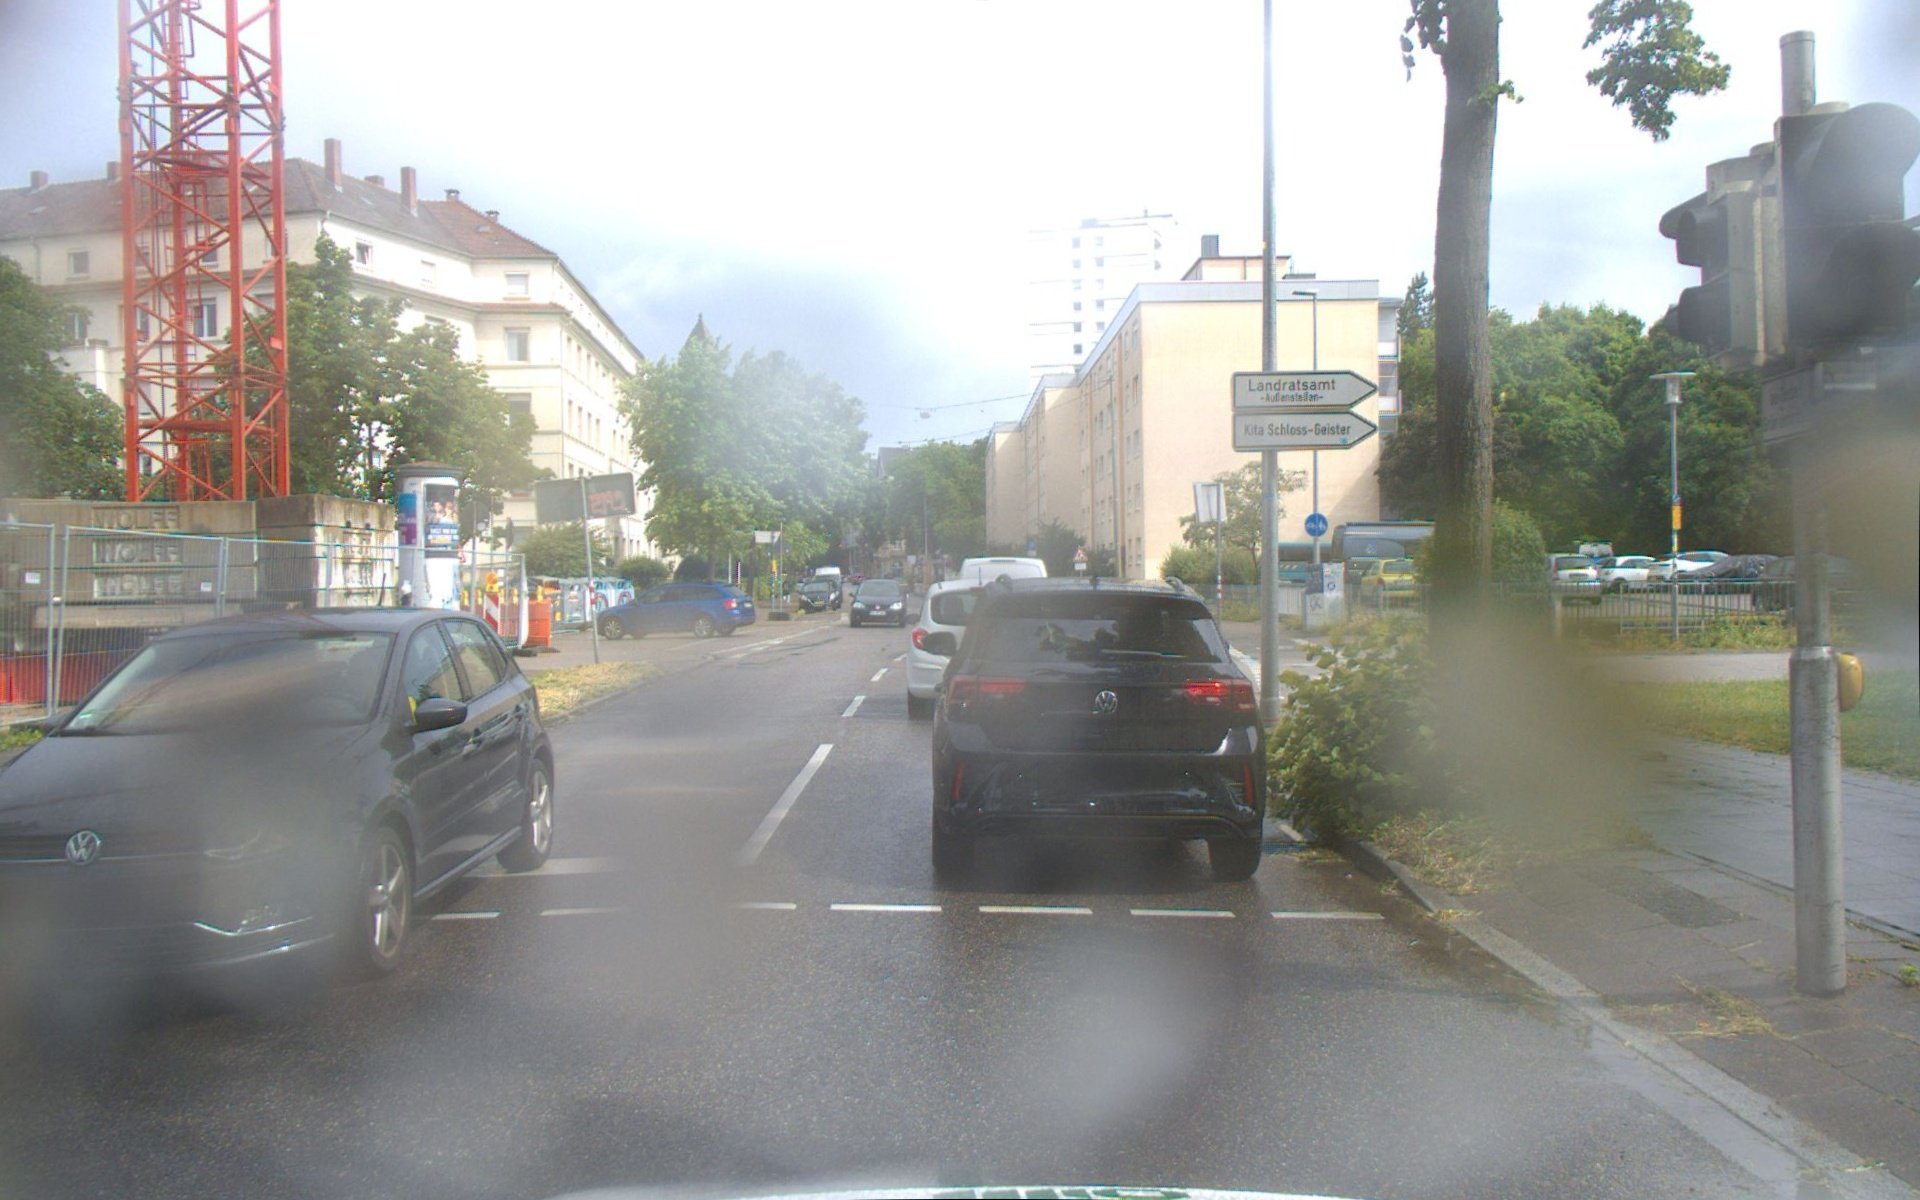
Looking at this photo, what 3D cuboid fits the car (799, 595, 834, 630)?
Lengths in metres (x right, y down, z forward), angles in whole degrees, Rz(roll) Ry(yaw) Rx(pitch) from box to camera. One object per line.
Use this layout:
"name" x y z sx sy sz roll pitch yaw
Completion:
"car" -6.867 0.564 79.113 1.555 1.532 4.061 -2 1 -5

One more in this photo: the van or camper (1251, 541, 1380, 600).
"van or camper" 13.942 -1.165 65.081 4.660 2.168 2.323 -1 1 3

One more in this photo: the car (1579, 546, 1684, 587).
"car" 27.238 -1.349 67.187 3.590 1.512 1.640 -2 1 3

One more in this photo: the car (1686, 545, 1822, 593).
"car" 27.369 -1.062 57.081 3.892 1.490 1.673 -2 1 1

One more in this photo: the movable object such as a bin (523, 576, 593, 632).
"movable object such as a bin" -12.597 0.126 51.924 1.505 1.685 1.529 -1 1 18

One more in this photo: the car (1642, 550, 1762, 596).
"car" 26.716 -0.979 59.623 3.590 1.512 1.640 -2 1 3

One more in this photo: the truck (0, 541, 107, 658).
"truck" -30.740 0.084 48.836 9.603 3.239 3.796 -2 1 13

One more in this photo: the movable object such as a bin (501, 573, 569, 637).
"movable object such as a bin" -12.932 0.151 50.380 1.505 1.856 1.264 -1 1 18

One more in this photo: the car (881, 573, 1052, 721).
"car" 0.058 0.497 19.366 1.776 1.529 3.999 1 0 0

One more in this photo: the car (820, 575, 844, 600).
"car" -8.935 -0.863 115.055 1.555 1.668 3.916 -2 1 -5

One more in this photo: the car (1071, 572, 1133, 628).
"car" 4.324 0.029 50.840 1.720 1.554 4.001 2 -1 3

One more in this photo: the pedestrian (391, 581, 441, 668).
"pedestrian" -10.507 0.461 31.921 0.716 1.658 0.675 1 0 -38

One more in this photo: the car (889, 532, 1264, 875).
"car" 0.559 0.512 10.211 1.835 1.674 4.061 1 0 -1

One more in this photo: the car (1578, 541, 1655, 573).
"car" 32.131 -2.101 80.941 3.158 1.422 1.509 -2 1 3

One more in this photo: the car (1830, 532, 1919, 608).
"car" 22.849 -0.746 39.807 1.814 1.708 4.426 -2 1 5

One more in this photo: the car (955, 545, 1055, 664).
"car" 0.864 0.080 32.054 1.798 2.139 4.001 1 0 1

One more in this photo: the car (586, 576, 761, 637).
"car" -7.814 0.154 45.206 4.338 1.612 1.823 0 1 13

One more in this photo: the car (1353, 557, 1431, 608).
"car" 13.316 -0.540 51.130 1.577 1.474 3.418 -2 1 2

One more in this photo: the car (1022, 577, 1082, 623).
"car" 3.440 0.034 62.450 1.714 1.535 4.107 -1 -3 -4

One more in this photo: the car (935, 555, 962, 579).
"car" -0.806 -2.349 118.645 1.803 1.636 3.676 -3 1 1

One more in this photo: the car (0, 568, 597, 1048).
"car" -3.032 0.664 7.513 1.776 1.567 3.983 -1 1 1

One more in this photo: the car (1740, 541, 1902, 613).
"car" 20.437 -0.557 39.482 1.790 1.553 4.426 -2 1 4

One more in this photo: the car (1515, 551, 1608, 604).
"car" 18.403 -0.695 50.747 1.614 1.512 3.720 -2 1 2

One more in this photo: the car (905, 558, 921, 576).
"car" -5.189 -3.593 181.524 1.632 1.870 3.998 -2 1 -3

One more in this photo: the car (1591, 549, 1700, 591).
"car" 26.900 -1.165 64.997 3.590 1.512 1.640 -2 1 3

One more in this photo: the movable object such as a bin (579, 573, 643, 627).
"movable object such as a bin" -11.599 -0.003 55.015 1.505 1.691 1.460 -1 1 18

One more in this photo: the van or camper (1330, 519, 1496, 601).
"van or camper" 14.920 -1.299 54.705 4.895 2.599 2.175 -1 0 1

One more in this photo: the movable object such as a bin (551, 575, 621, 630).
"movable object such as a bin" -12.084 0.072 53.493 1.505 1.703 1.667 -1 1 18

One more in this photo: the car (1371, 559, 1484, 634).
"car" 11.879 -0.121 42.304 1.766 1.780 4.239 -2 1 2

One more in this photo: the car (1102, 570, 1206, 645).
"car" 4.552 0.134 39.325 1.738 1.566 4.377 -3 1 -2

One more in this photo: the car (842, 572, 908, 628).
"car" -2.660 -0.017 52.501 1.803 1.636 4.000 -3 1 1
